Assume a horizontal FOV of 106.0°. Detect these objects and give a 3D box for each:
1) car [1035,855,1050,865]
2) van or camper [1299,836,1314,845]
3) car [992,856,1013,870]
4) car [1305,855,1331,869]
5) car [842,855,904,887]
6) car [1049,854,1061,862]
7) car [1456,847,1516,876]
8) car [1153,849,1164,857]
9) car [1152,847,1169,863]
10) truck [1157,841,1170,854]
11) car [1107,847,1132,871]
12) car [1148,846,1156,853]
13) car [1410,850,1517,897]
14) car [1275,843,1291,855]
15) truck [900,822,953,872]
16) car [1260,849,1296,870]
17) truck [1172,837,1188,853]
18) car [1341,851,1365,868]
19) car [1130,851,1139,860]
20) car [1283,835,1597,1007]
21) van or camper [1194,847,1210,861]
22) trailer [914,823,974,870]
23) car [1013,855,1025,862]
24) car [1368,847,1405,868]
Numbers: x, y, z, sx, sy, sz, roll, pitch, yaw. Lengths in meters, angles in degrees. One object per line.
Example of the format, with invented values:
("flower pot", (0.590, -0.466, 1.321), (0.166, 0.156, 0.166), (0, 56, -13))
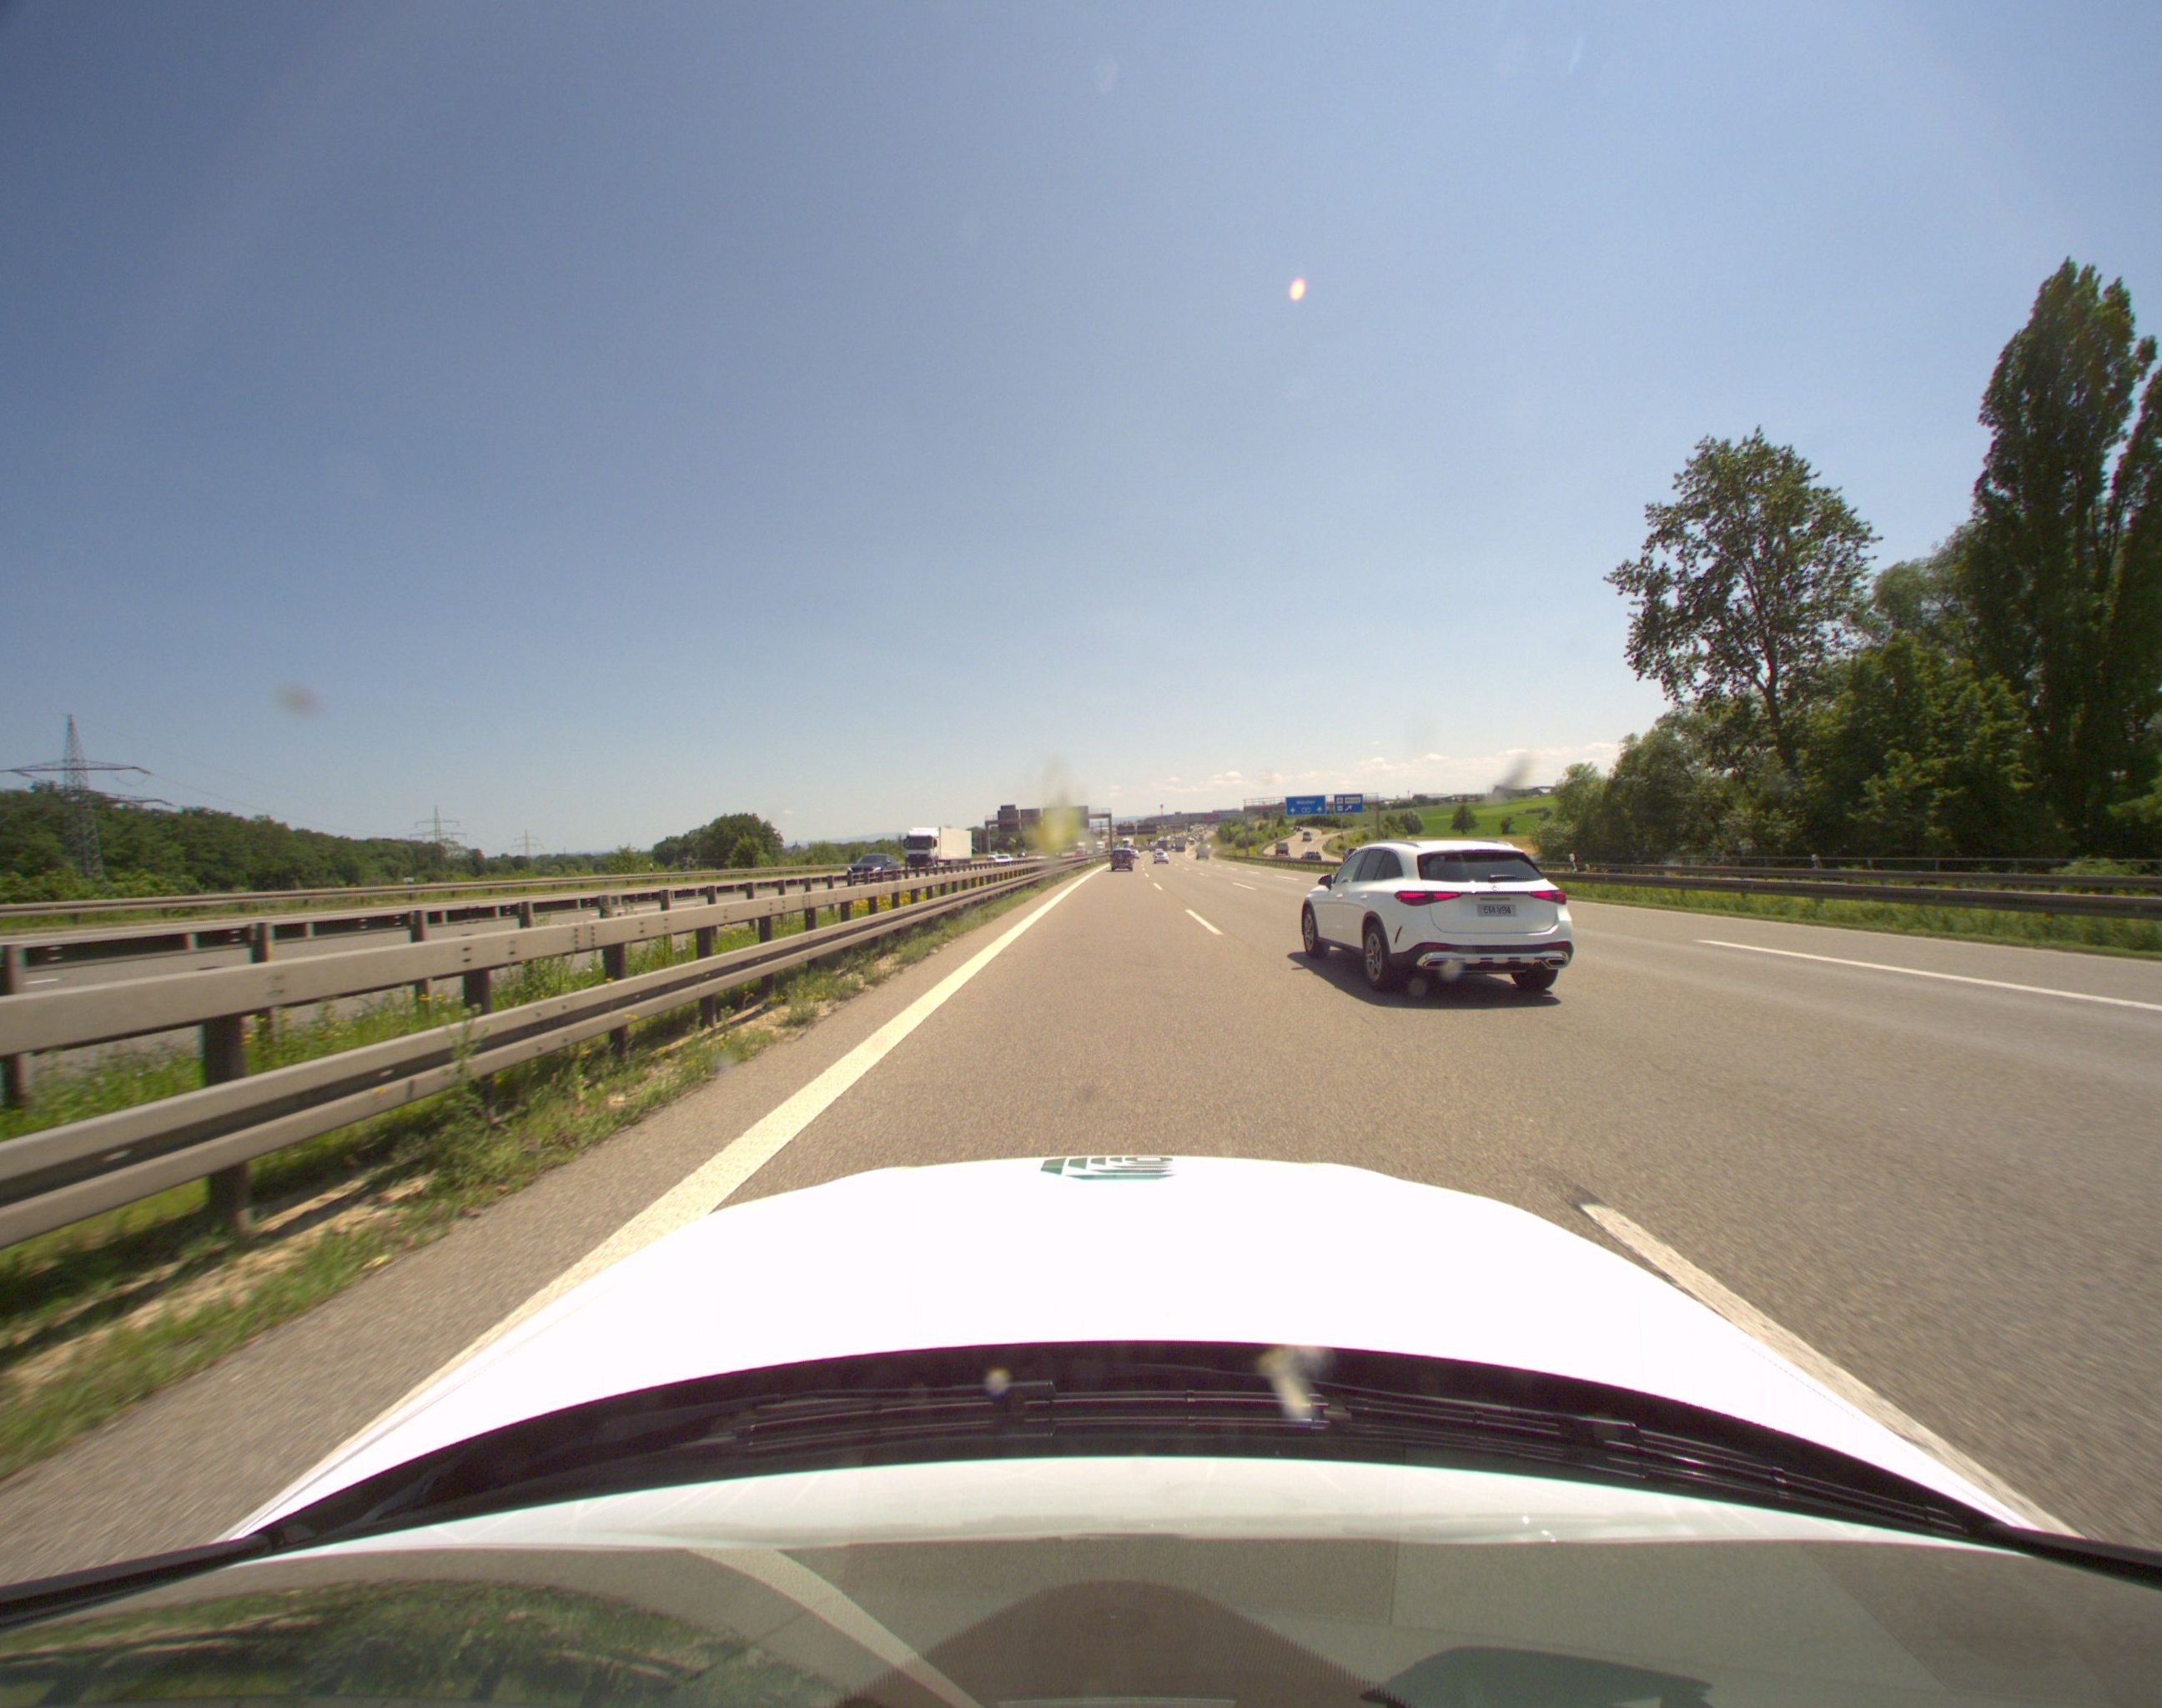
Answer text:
("car", (-5.836, 0.894, 123.722), (1.650, 1.403, 4.764), (-1, 0, 4))
("van or camper", (54.905, -3.310, 198.353), (2.519, 2.014, 4.463), (-1, 0, 2))
("car", (-8.613, 0.953, 89.874), (1.734, 1.489, 4.010), (-1, 0, 3))
("car", (27.260, 0.890, 93.892), (1.986, 1.596, 4.002), (-1, 0, 2))
("car", (-11.351, 0.877, 44.818), (1.985, 1.644, 4.666), (0, 0, 2))
("car", (-5.260, 0.820, 165.688), (1.839, 1.655, 4.915), (-1, 0, 4))
("car", (23.773, 0.430, 47.979), (1.692, 1.575, 4.132), (-1, 0, 4))
("car", (14.843, -0.137, 156.228), (1.971, 1.473, 4.009), (-1, 0, 8))
("car", (9.648, 0.120, 98.812), (1.918, 1.919, 4.522), (-1, 0, 4))
("truck", (21.530, -1.720, 211.811), (2.687, 3.108, 10.683), (-1, 0, 8))
("car", (3.194, 0.421, 66.888), (1.918, 1.919, 4.952), (-1, 0, 3))
("car", (20.686, -1.304, 235.752), (2.175, 2.002, 4.009), (-1, 3, 7))
("car", (12.948, 0.612, 27.924), (1.777, 1.437, 4.854), (-1, 0, 5))
("car", (33.383, -0.806, 134.619), (1.985, 2.014, 4.004), (-1, 0, 3))
("truck", (-13.682, -0.631, 72.749), (3.022, 4.240, 6.691), (-1, 0, 3))
("car", (16.676, 0.453, 69.015), (1.988, 1.690, 3.997), (-1, 0, -2))
("truck", (27.793, -2.603, 228.227), (4.016, 4.261, 11.787), (-1, 2, 8))
("car", (32.965, 0.655, 98.725), (1.929, 1.923, 4.186), (-1, 0, 6))
("car", (9.105, 0.243, 138.195), (1.568, 1.552, 3.969), (-1, 0, 5))
("car", (4.095, 0.661, 10.391), (1.891, 1.647, 5.000), (-1, 0, 1))
("van or camper", (18.997, -0.006, 128.055), (2.145, 2.014, 4.311), (-1, 0, 5))
("trailer", (-13.240, -0.660, 79.969), (3.022, 4.240, 12.260), (-1, 0, 4))
("car", (-13.047, 0.909, 170.991), (1.839, 1.531, 4.227), (-1, 0, 4))
("car", (27.957, 0.322, 74.685), (1.931, 1.923, 4.182), (-1, 0, 3))
